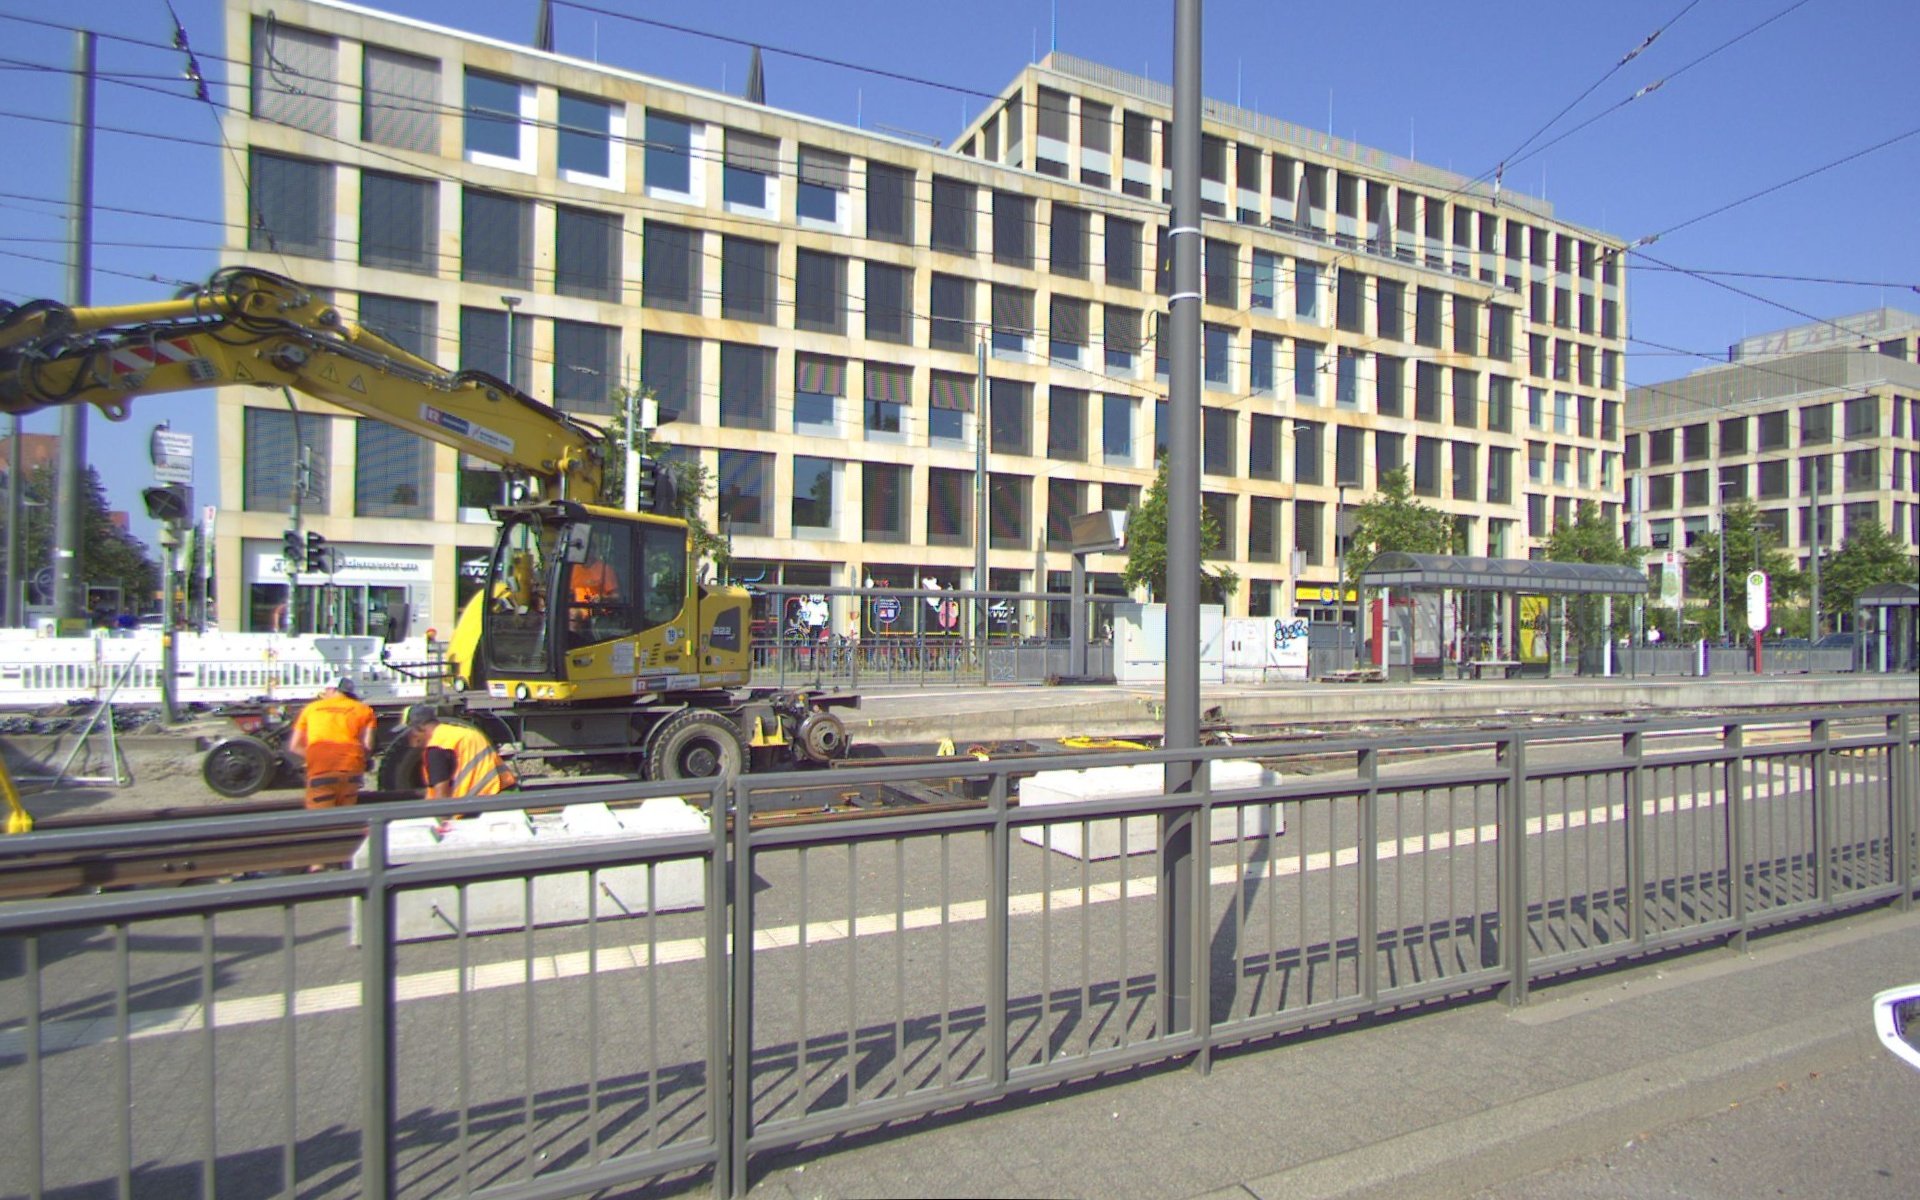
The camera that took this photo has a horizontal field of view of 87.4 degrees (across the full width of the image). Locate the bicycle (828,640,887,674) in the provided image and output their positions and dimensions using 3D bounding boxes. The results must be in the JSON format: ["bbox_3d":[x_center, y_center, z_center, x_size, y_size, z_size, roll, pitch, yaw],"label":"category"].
[{"bbox_3d":[-3.198,1.749,31.095,1.007,0.980,2.421,1,-2,-27],"label":"bicycle"}]

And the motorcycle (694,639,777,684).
[{"bbox_3d":[-4.606,1.271,20.632,1.610,0.889,0.429,2,-5,-22],"label":"motorcycle"}]

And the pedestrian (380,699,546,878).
[{"bbox_3d":[-3.101,1.139,6.326,0.870,0.967,0.699,1,-2,-25],"label":"pedestrian"}]

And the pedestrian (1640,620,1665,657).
[{"bbox_3d":[37.600,2.106,54.577,0.829,1.941,0.789,3,-5,-31],"label":"pedestrian"}]

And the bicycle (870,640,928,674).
[{"bbox_3d":[-1.949,1.781,31.771,0.933,0.980,2.421,1,-2,-27],"label":"bicycle"}]

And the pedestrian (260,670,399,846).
[{"bbox_3d":[-4.607,1.117,7.353,0.579,1.170,0.700,-1,-2,39],"label":"pedestrian"}]

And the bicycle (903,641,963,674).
[{"bbox_3d":[-0.896,1.848,32.606,1.007,0.980,2.421,1,-2,-27],"label":"bicycle"}]

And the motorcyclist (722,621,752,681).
[{"bbox_3d":[-4.583,1.051,20.621,0.508,1.194,0.429,2,-5,-21],"label":"motorcyclist"}]

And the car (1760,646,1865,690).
[{"bbox_3d":[32.336,2.556,38.103,3.708,1.591,1.657,1,-2,-25],"label":"car"}]

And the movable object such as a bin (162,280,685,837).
[{"bbox_3d":[-5.231,-0.290,10.518,4.152,4.614,2.980,1,-1,-24],"label":"movable object such as a bin"}]

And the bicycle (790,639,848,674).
[{"bbox_3d":[-4.316,1.696,30.607,1.007,0.980,2.421,1,-2,-27],"label":"bicycle"}]
